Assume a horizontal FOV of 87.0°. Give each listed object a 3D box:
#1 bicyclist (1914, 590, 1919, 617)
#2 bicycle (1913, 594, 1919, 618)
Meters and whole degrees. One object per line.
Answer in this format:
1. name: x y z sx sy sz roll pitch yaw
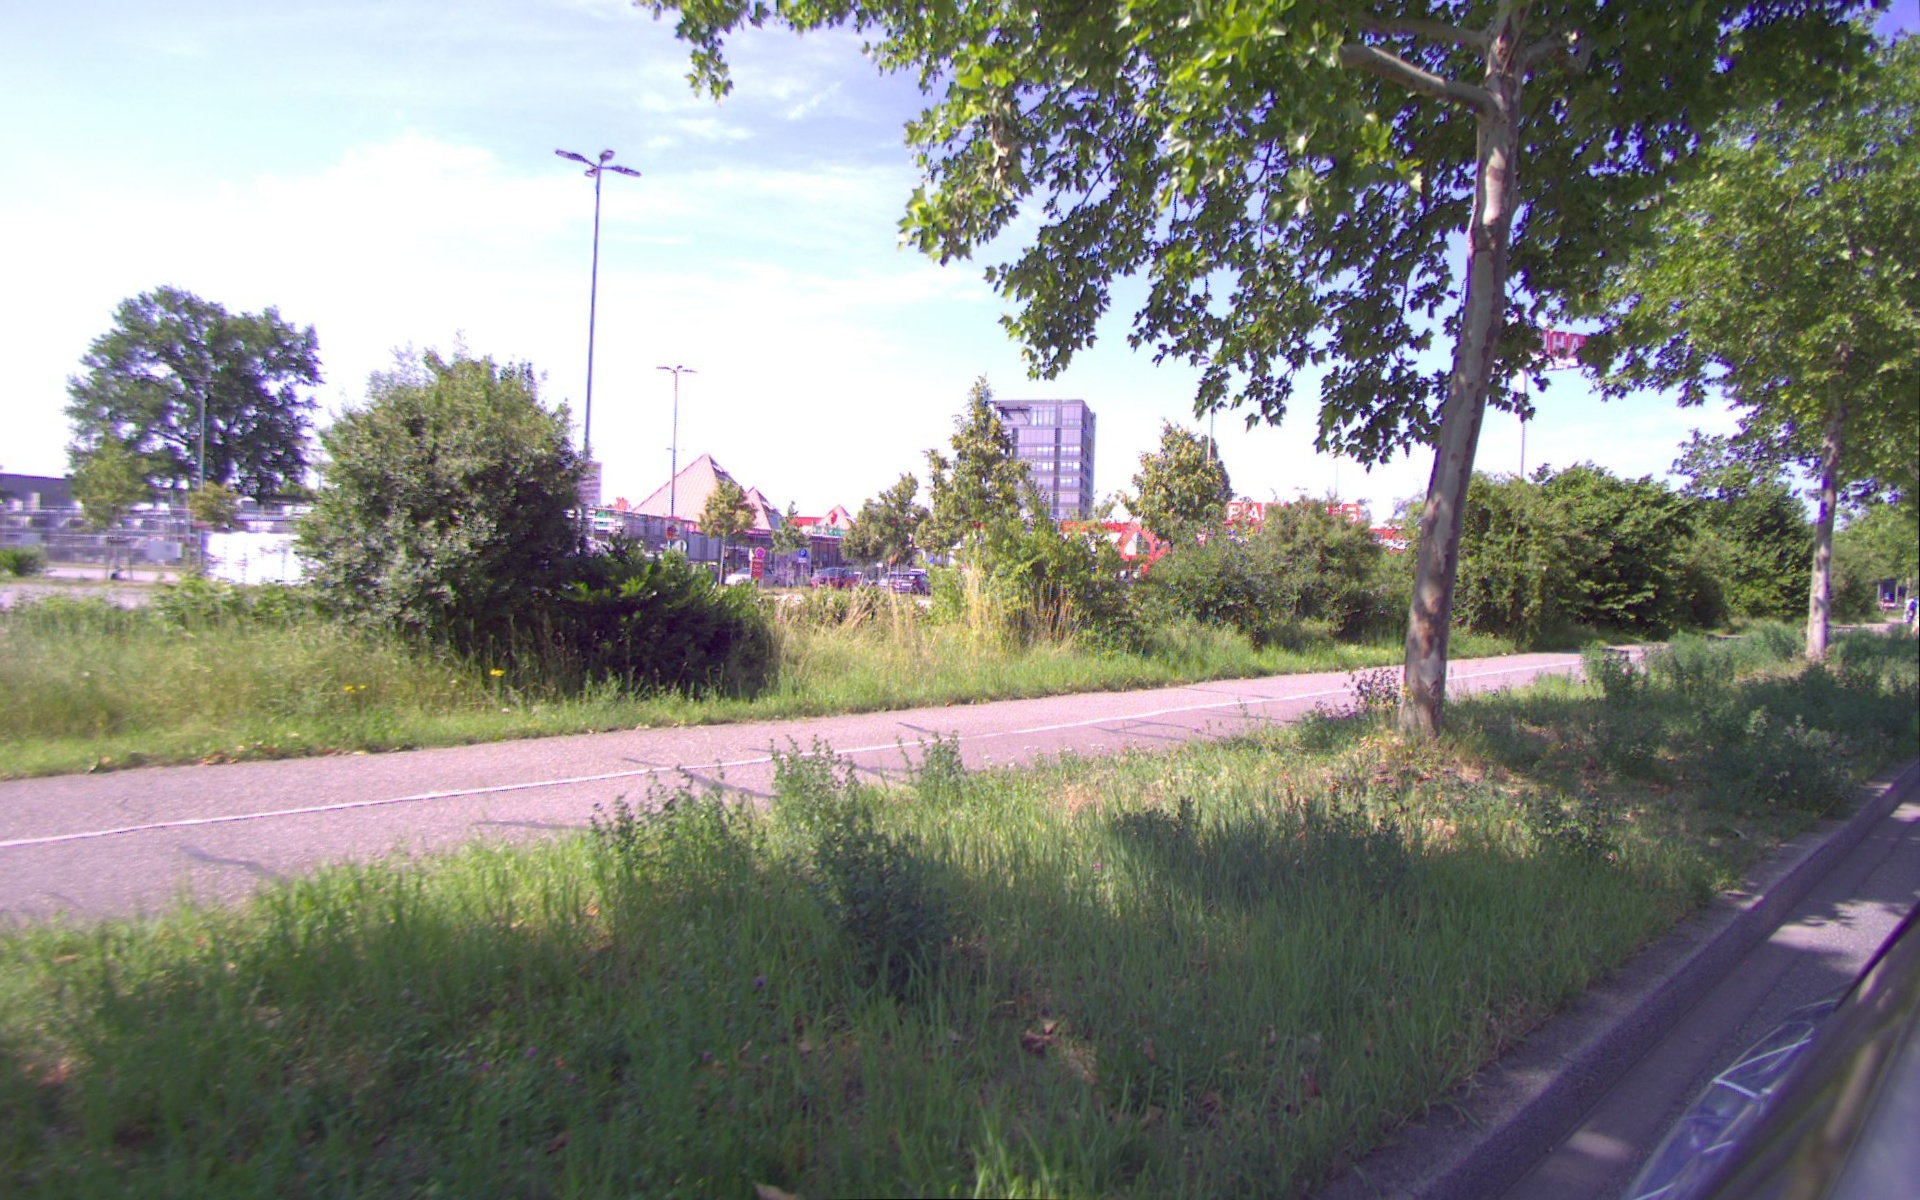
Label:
1. bicyclist: 53.557 0.203 56.187 0.992 1.495 0.705 0 1 -40
2. bicycle: 53.565 0.337 56.171 2.058 1.315 0.724 0 1 -40
